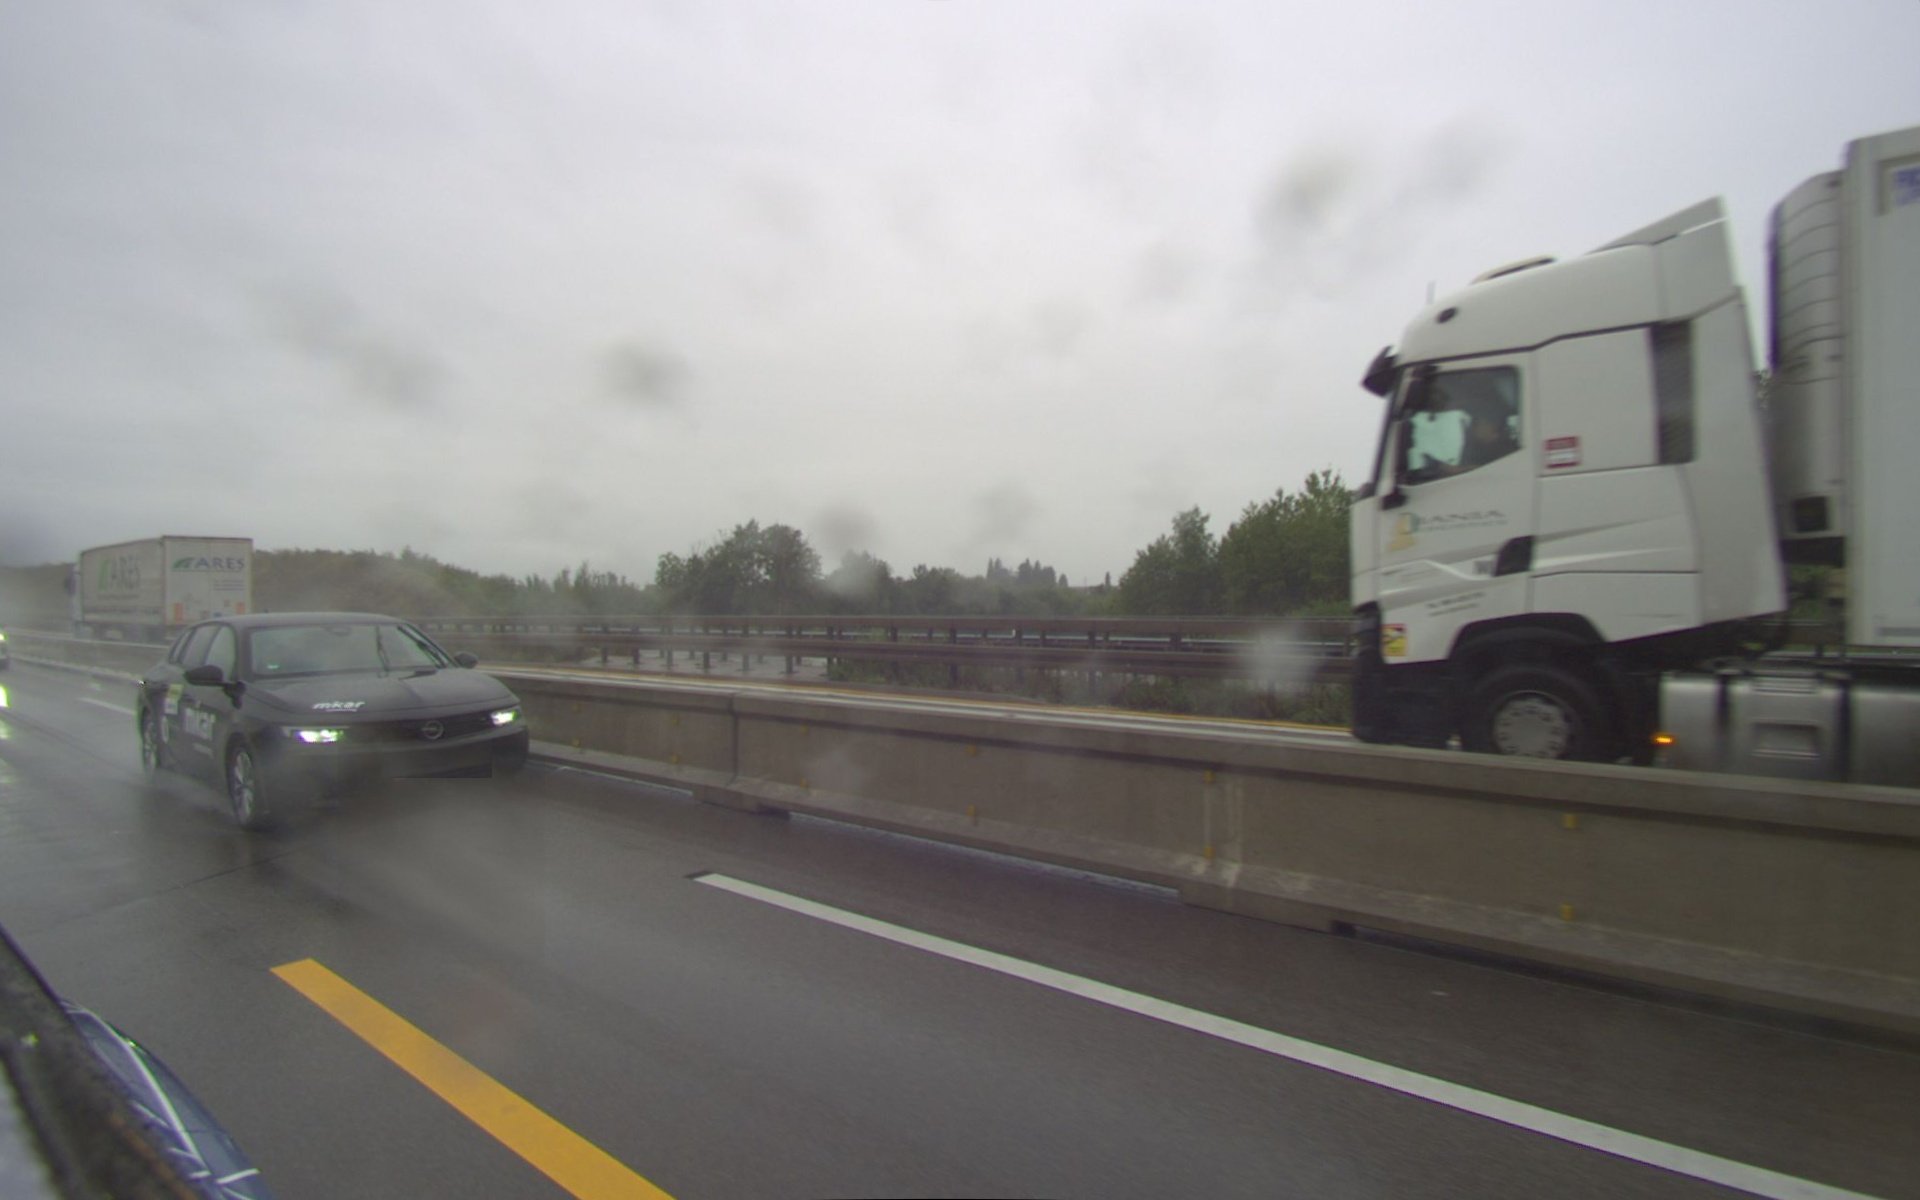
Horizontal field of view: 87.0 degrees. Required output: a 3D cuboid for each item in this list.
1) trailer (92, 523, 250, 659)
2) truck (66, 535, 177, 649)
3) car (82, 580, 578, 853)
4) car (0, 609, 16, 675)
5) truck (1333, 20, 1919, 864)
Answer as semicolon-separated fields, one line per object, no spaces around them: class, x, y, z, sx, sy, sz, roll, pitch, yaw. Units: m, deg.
trailer;-29.638;-0.308;37.744;11.188;4.476;2.459;0;0;41
truck;-35.706;-0.319;43.005;6.877;4.496;2.477;0;0;41
car;-5.166;0.717;7.996;4.791;1.539;1.919;-2;-2;40
car;-26.703;1.100;26.840;3.996;1.693;1.947;0;0;40
truck;6.091;-0.876;6.542;6.450;4.638;2.533;0;0;42
